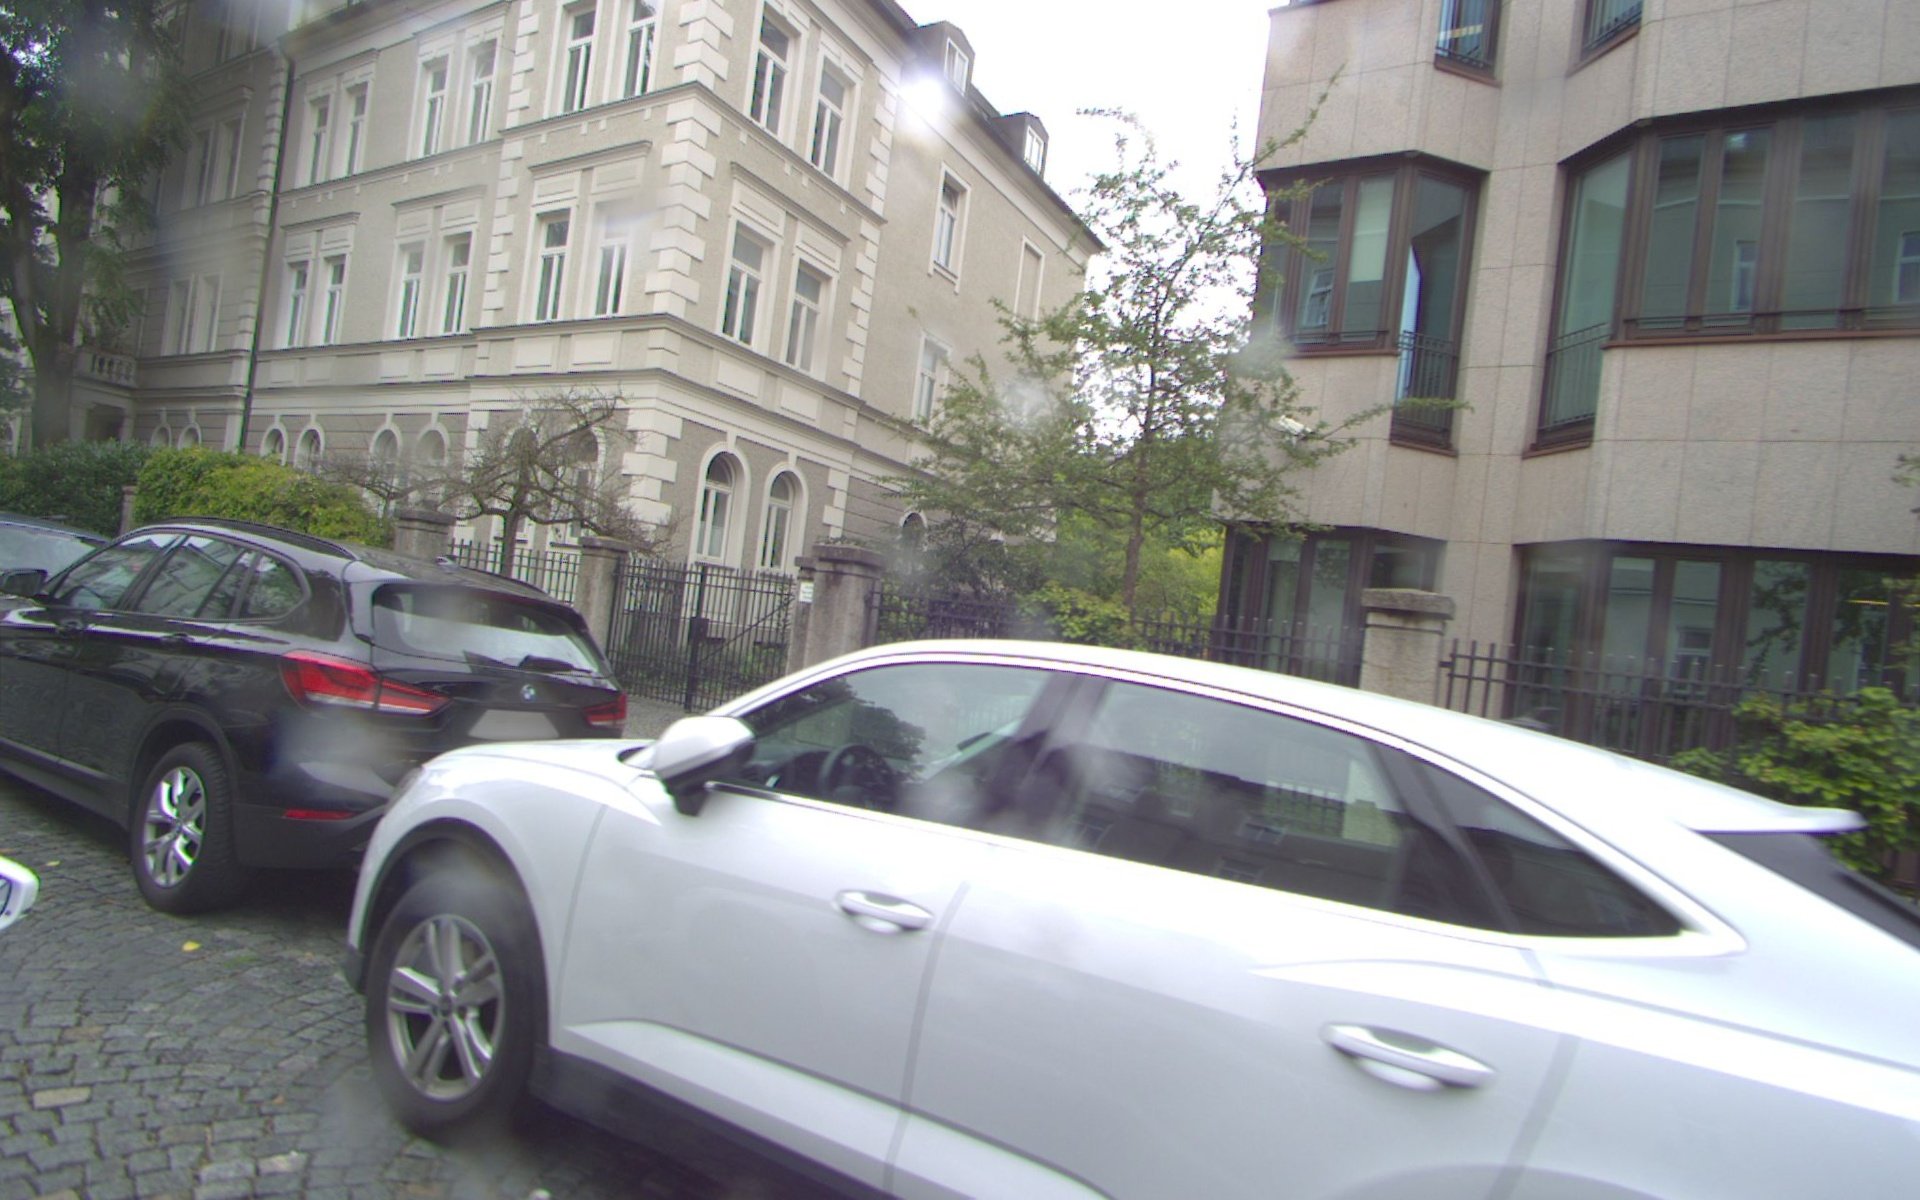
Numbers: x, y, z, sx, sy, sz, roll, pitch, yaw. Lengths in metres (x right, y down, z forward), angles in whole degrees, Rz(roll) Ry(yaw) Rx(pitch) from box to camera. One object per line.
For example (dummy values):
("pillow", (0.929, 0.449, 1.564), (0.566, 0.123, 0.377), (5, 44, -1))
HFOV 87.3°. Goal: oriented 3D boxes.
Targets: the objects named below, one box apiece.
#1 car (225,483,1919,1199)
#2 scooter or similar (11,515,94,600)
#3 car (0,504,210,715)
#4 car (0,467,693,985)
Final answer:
("car", (0.199, 0.732, 2.690), (4.542, 1.506, 1.878), (7, -4, 34))
("scooter or similar", (-14.782, -0.689, 16.381), (1.223, 1.251, 0.415), (7, 2, 20))
("car", (-8.446, -0.104, 8.456), (3.990, 1.455, 1.701), (7, -4, 27))
("car", (-3.864, 0.372, 5.409), (4.580, 1.687, 1.879), (6, -4, 32))
